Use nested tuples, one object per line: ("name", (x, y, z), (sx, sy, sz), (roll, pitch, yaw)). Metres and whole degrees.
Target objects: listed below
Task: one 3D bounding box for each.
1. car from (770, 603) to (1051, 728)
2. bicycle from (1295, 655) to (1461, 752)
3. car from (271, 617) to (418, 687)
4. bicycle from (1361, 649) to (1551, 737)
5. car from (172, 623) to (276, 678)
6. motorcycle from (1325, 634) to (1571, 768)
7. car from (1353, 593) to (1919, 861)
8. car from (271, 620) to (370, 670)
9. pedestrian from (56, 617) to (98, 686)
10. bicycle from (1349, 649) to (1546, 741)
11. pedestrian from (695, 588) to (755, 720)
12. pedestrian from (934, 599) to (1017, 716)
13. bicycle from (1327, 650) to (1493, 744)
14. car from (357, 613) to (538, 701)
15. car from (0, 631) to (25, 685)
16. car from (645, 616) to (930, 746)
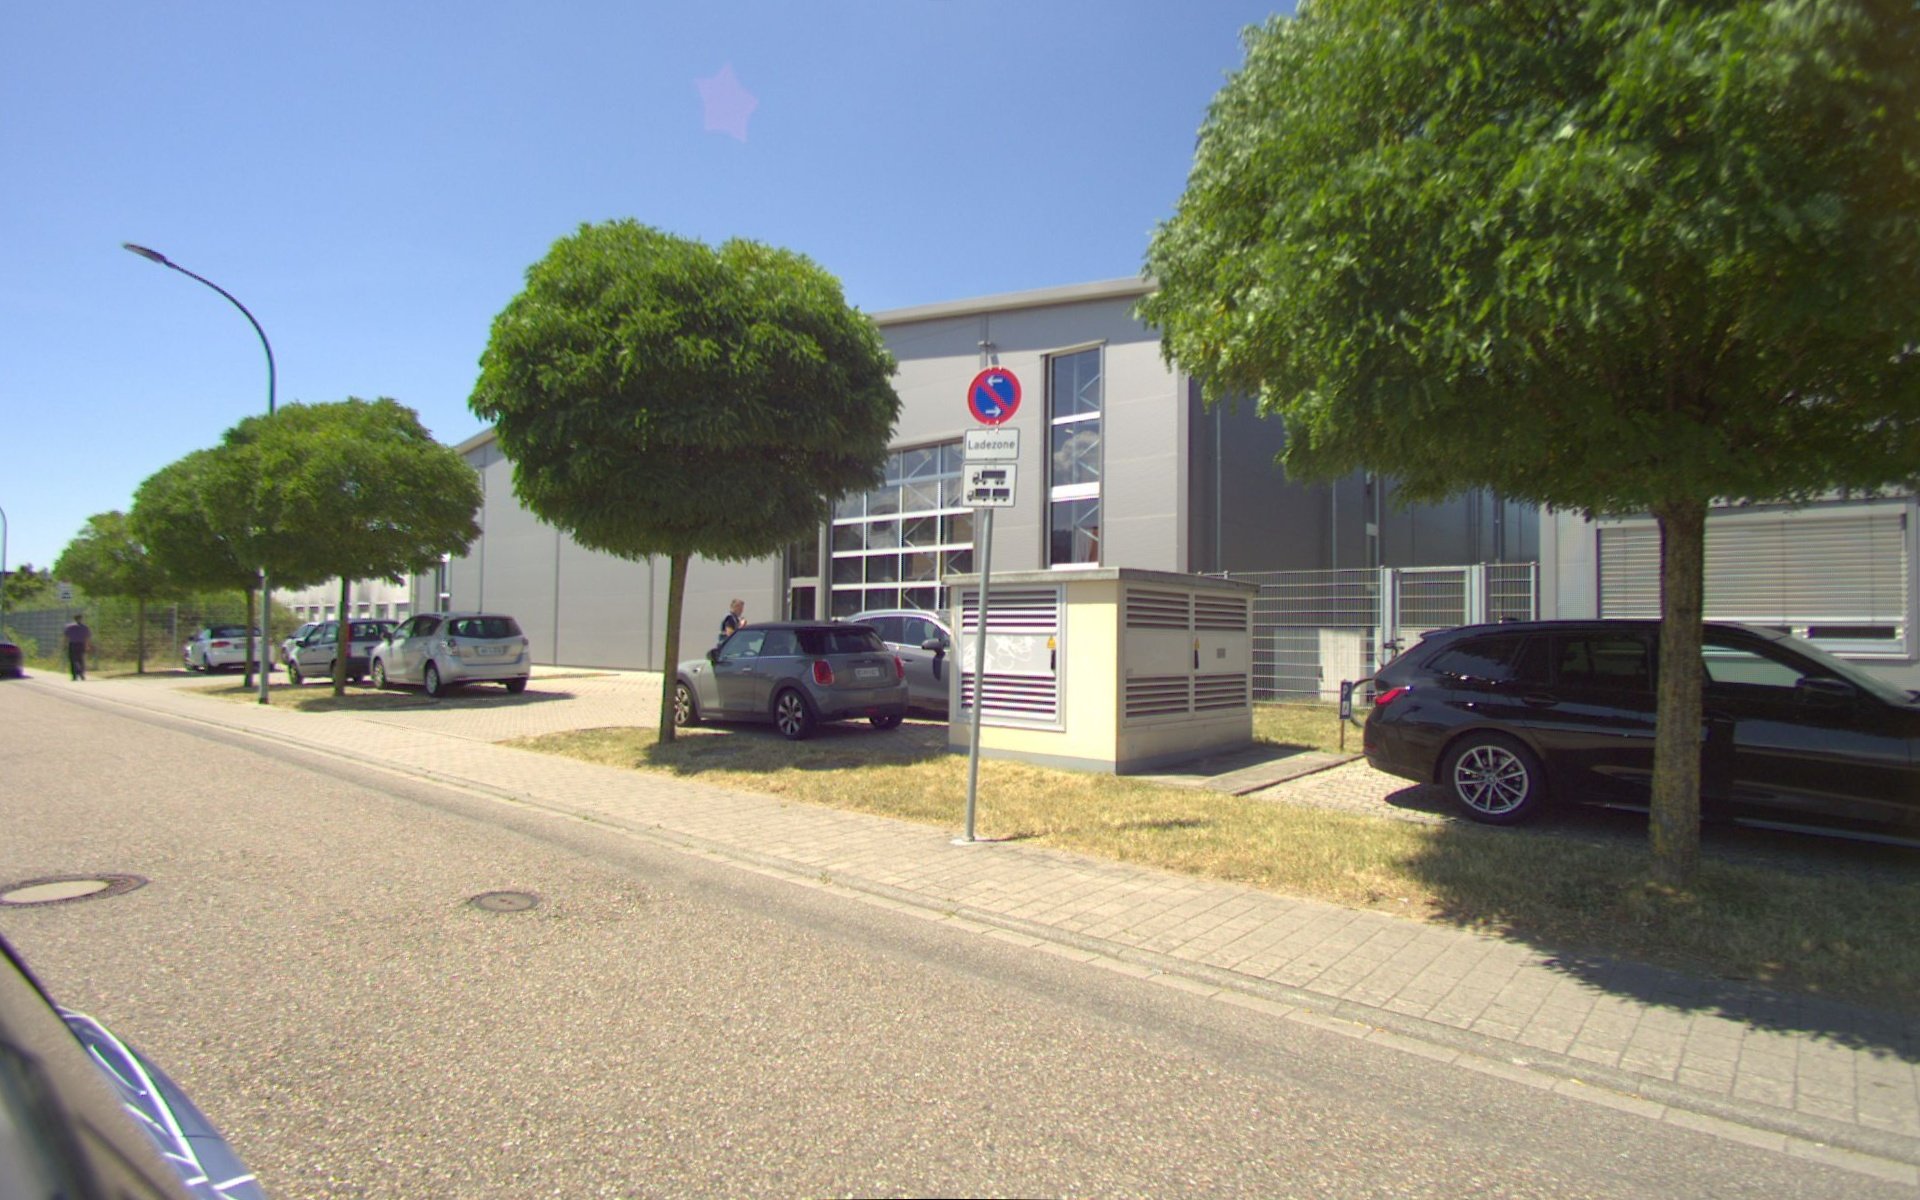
("car", (-0.866, 0.912, 15.426), (4.347, 1.640, 1.716), (-2, -2, 42))
("bicycle", (4.687, 1.137, 11.436), (1.696, 0.985, 0.347), (-2, -1, 40))
("car", (-14.473, 1.202, 23.765), (3.697, 1.511, 1.667), (-2, -3, 36))
("bicycle", (6.094, 1.113, 12.530), (2.063, 0.985, 0.431), (-2, -1, 40))
("car", (-22.688, 1.515, 31.153), (4.327, 1.511, 1.804), (-2, -1, 43))
("motorcycle", (4.706, 0.931, 9.875), (2.079, 1.171, 0.510), (-2, -1, 40))
("car", (5.305, 0.712, 6.714), (4.712, 1.464, 1.747), (-2, -1, 41))
("car", (-21.523, 1.480, 33.984), (4.259, 1.511, 1.804), (-2, -1, 43))
("pedestrian", (-23.996, 1.379, 27.491), (1.135, 1.815, 0.736), (-2, -1, 43))
("bicycle", (5.778, 1.096, 12.101), (2.063, 0.985, 0.431), (-2, -1, 40))
("pedestrian", (-3.643, 0.819, 15.760), (0.829, 1.987, 0.966), (-1, -1, -9))
("pedestrian", (0.235, 0.866, 15.620), (0.964, 1.726, 0.831), (-2, -2, 41))
("bicycle", (5.143, 1.084, 11.632), (1.696, 0.985, 0.347), (-2, -1, 40))
("car", (-10.440, 1.083, 20.474), (4.538, 1.585, 1.747), (-2, -1, 42))
("car", (-28.862, 1.647, 29.534), (4.523, 1.511, 1.805), (-2, -4, 41))
("car", (-2.377, 0.966, 13.430), (3.839, 1.464, 1.747), (-2, -2, 42))
